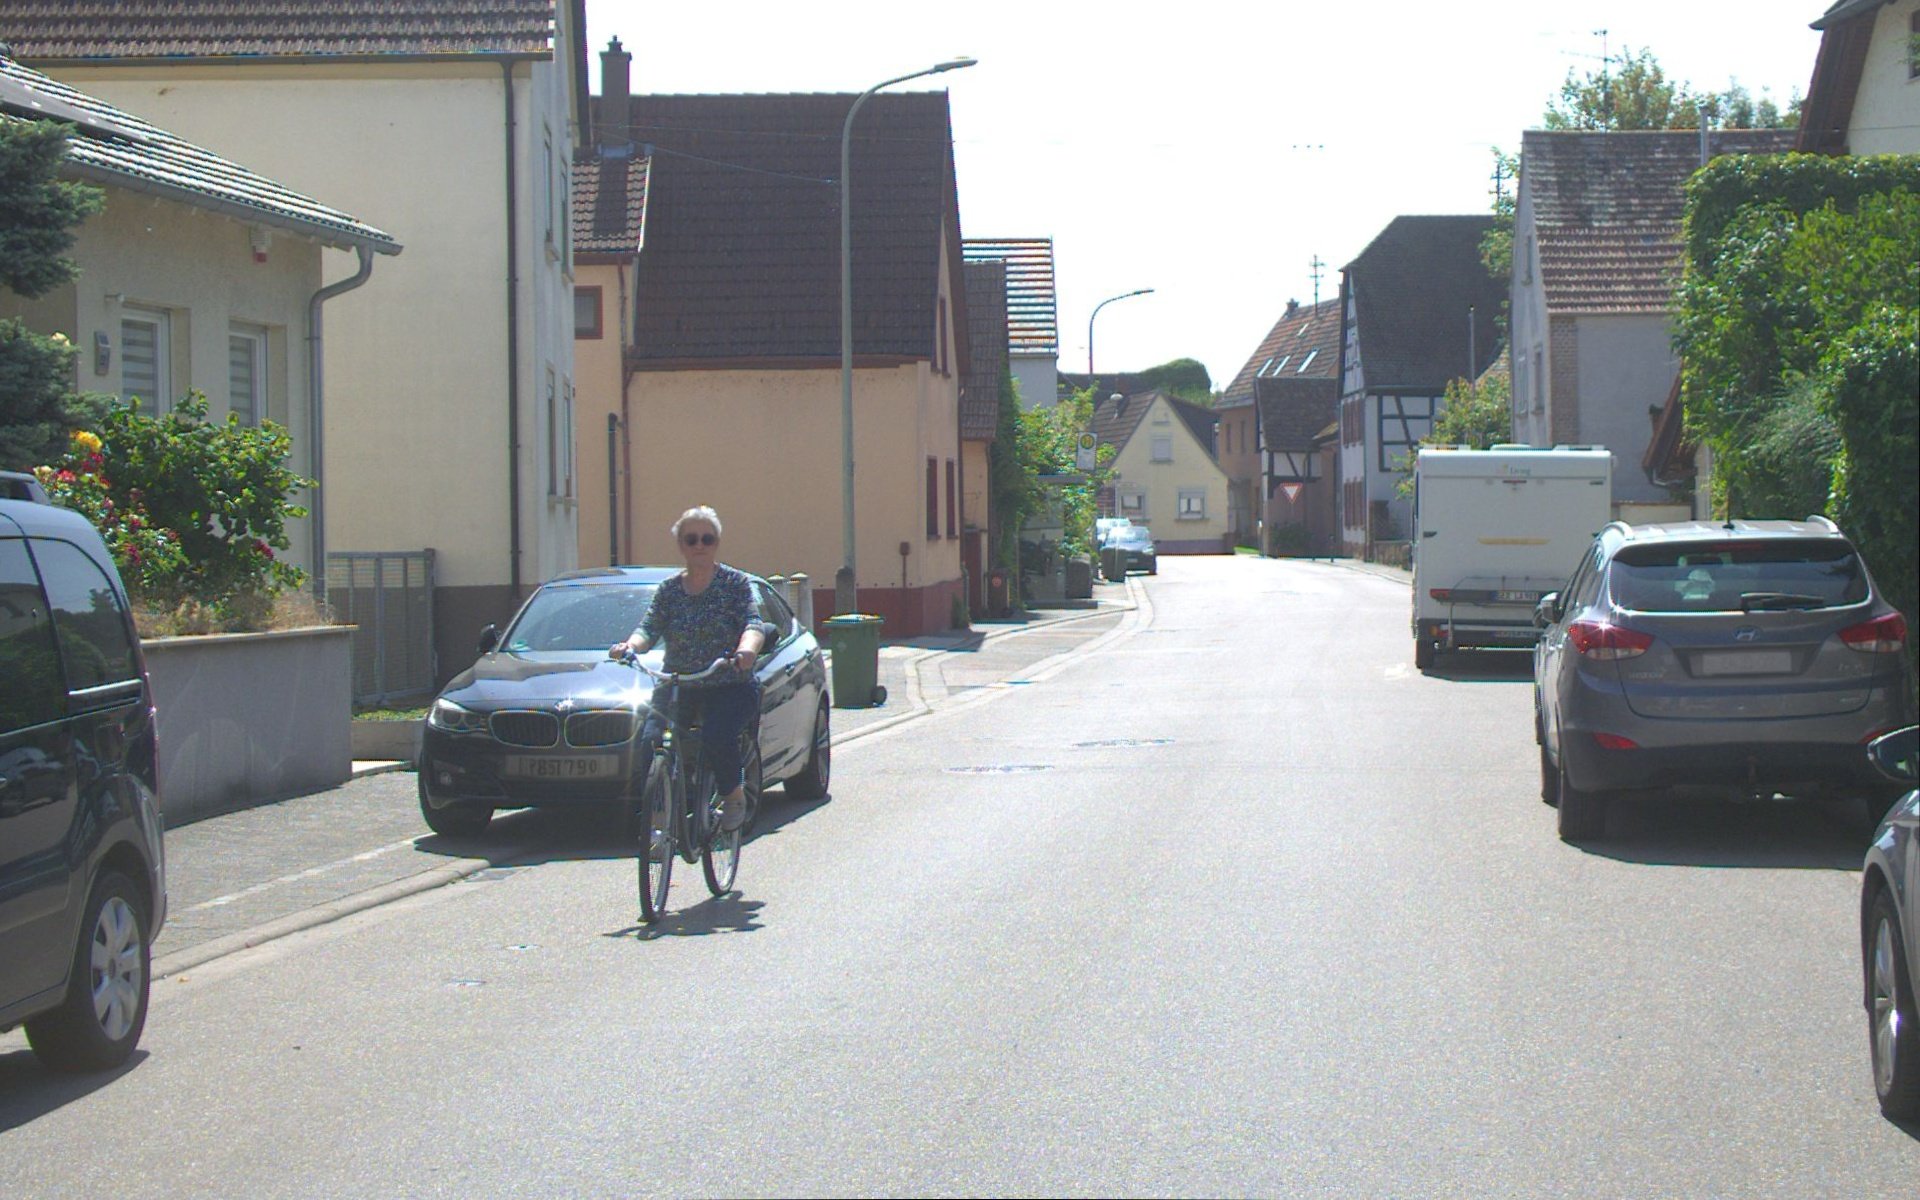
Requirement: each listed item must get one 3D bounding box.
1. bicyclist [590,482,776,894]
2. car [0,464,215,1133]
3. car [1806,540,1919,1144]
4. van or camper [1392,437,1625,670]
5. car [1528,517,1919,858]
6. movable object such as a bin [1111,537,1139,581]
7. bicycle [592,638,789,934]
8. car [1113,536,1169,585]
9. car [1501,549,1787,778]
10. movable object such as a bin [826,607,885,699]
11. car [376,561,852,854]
[{"bbox_3d":[-1.210,0.376,15.138,0.704,1.765,0.625,-1,1,3],"label":"bicyclist"},{"bbox_3d":[-3.600,0.562,9.091,1.835,1.831,4.352,-1,1,7],"label":"car"},{"bbox_3d":[3.231,0.602,7.841,1.820,1.503,4.581,-1,1,5],"label":"car"},{"bbox_3d":[6.716,-0.577,42.619,2.522,2.687,4.554,-1,1,5],"label":"van or camper"},{"bbox_3d":[4.123,0.381,18.948,1.794,1.625,4.359,-1,1,8],"label":"car"},{"bbox_3d":[4.508,-1.122,94.142,0.689,1.181,0.714,-2,1,6],"label":"movable object such as a bin"},{"bbox_3d":[-1.159,0.779,15.141,0.589,1.144,1.948,-2,1,3],"label":"bicycle"},{"bbox_3d":[5.633,-1.237,106.549,1.512,1.431,3.510,-2,1,6],"label":"car"},{"bbox_3d":[4.866,0.397,24.901,1.712,1.459,4.064,-2,1,7],"label":"car"},{"bbox_3d":[-1.087,0.548,35.872,0.539,0.946,0.553,0,1,6],"label":"movable object such as a bin"},{"bbox_3d":[-1.923,0.552,20.675,1.845,1.521,4.764,-1,1,7],"label":"car"}]
